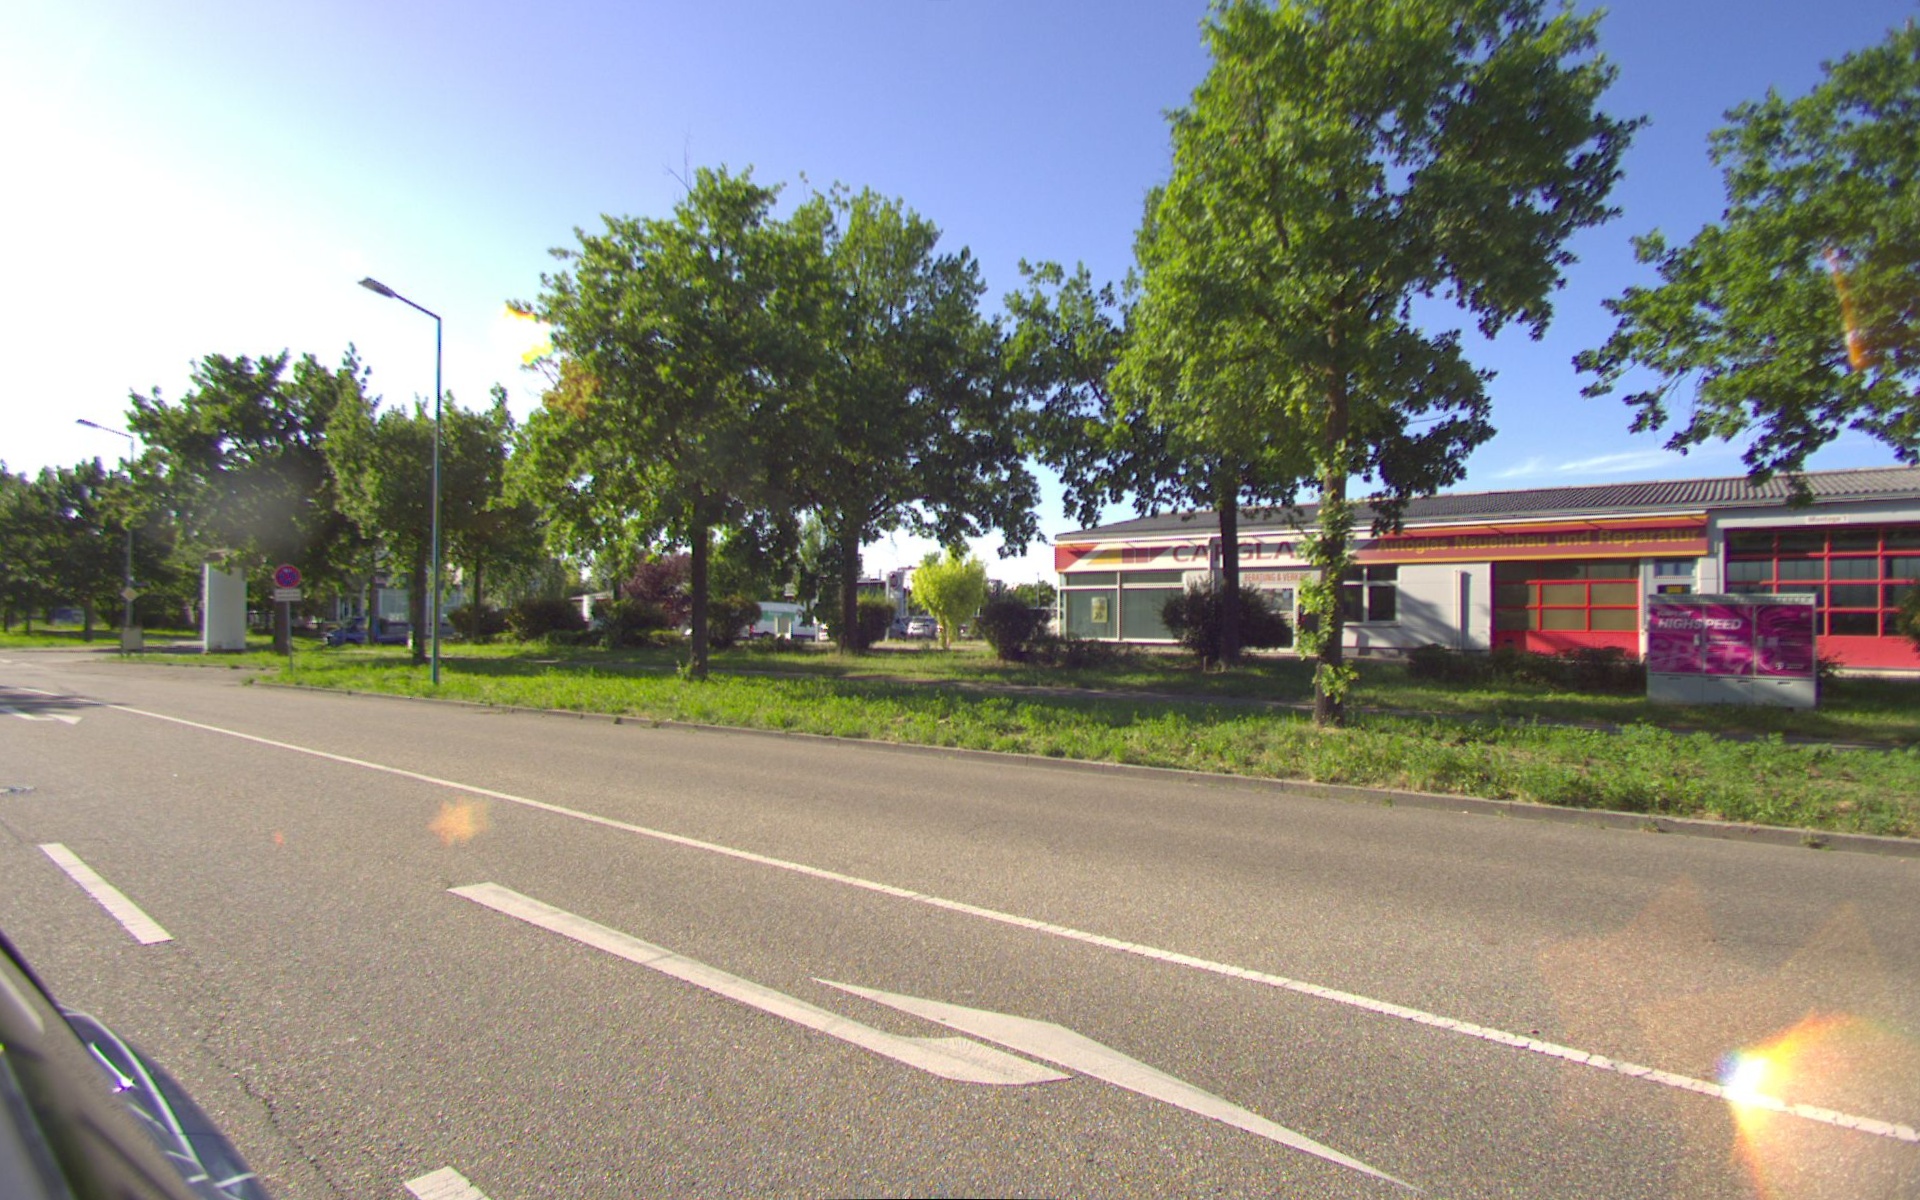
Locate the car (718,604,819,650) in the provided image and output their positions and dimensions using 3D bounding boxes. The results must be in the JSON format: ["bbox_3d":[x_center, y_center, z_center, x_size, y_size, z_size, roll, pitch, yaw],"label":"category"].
[{"bbox_3d":[-11.452,1.581,61.007,2.406,2.574,5.952,-1,0,36],"label":"car"}]

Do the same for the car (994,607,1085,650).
[{"bbox_3d":[3.213,1.140,40.611,1.734,1.583,3.769,-3,-1,40],"label":"car"}]

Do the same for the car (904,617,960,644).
[{"bbox_3d":[-1.871,2.030,68.630,1.761,1.684,3.811,-1,0,40],"label":"car"}]

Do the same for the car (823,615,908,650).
[{"bbox_3d":[-5.146,1.750,55.796,1.989,1.795,4.583,-1,0,40],"label":"car"}]

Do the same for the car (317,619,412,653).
[{"bbox_3d":[-35.971,2.143,61.242,1.999,1.847,4.578,-1,0,41],"label":"car"}]
